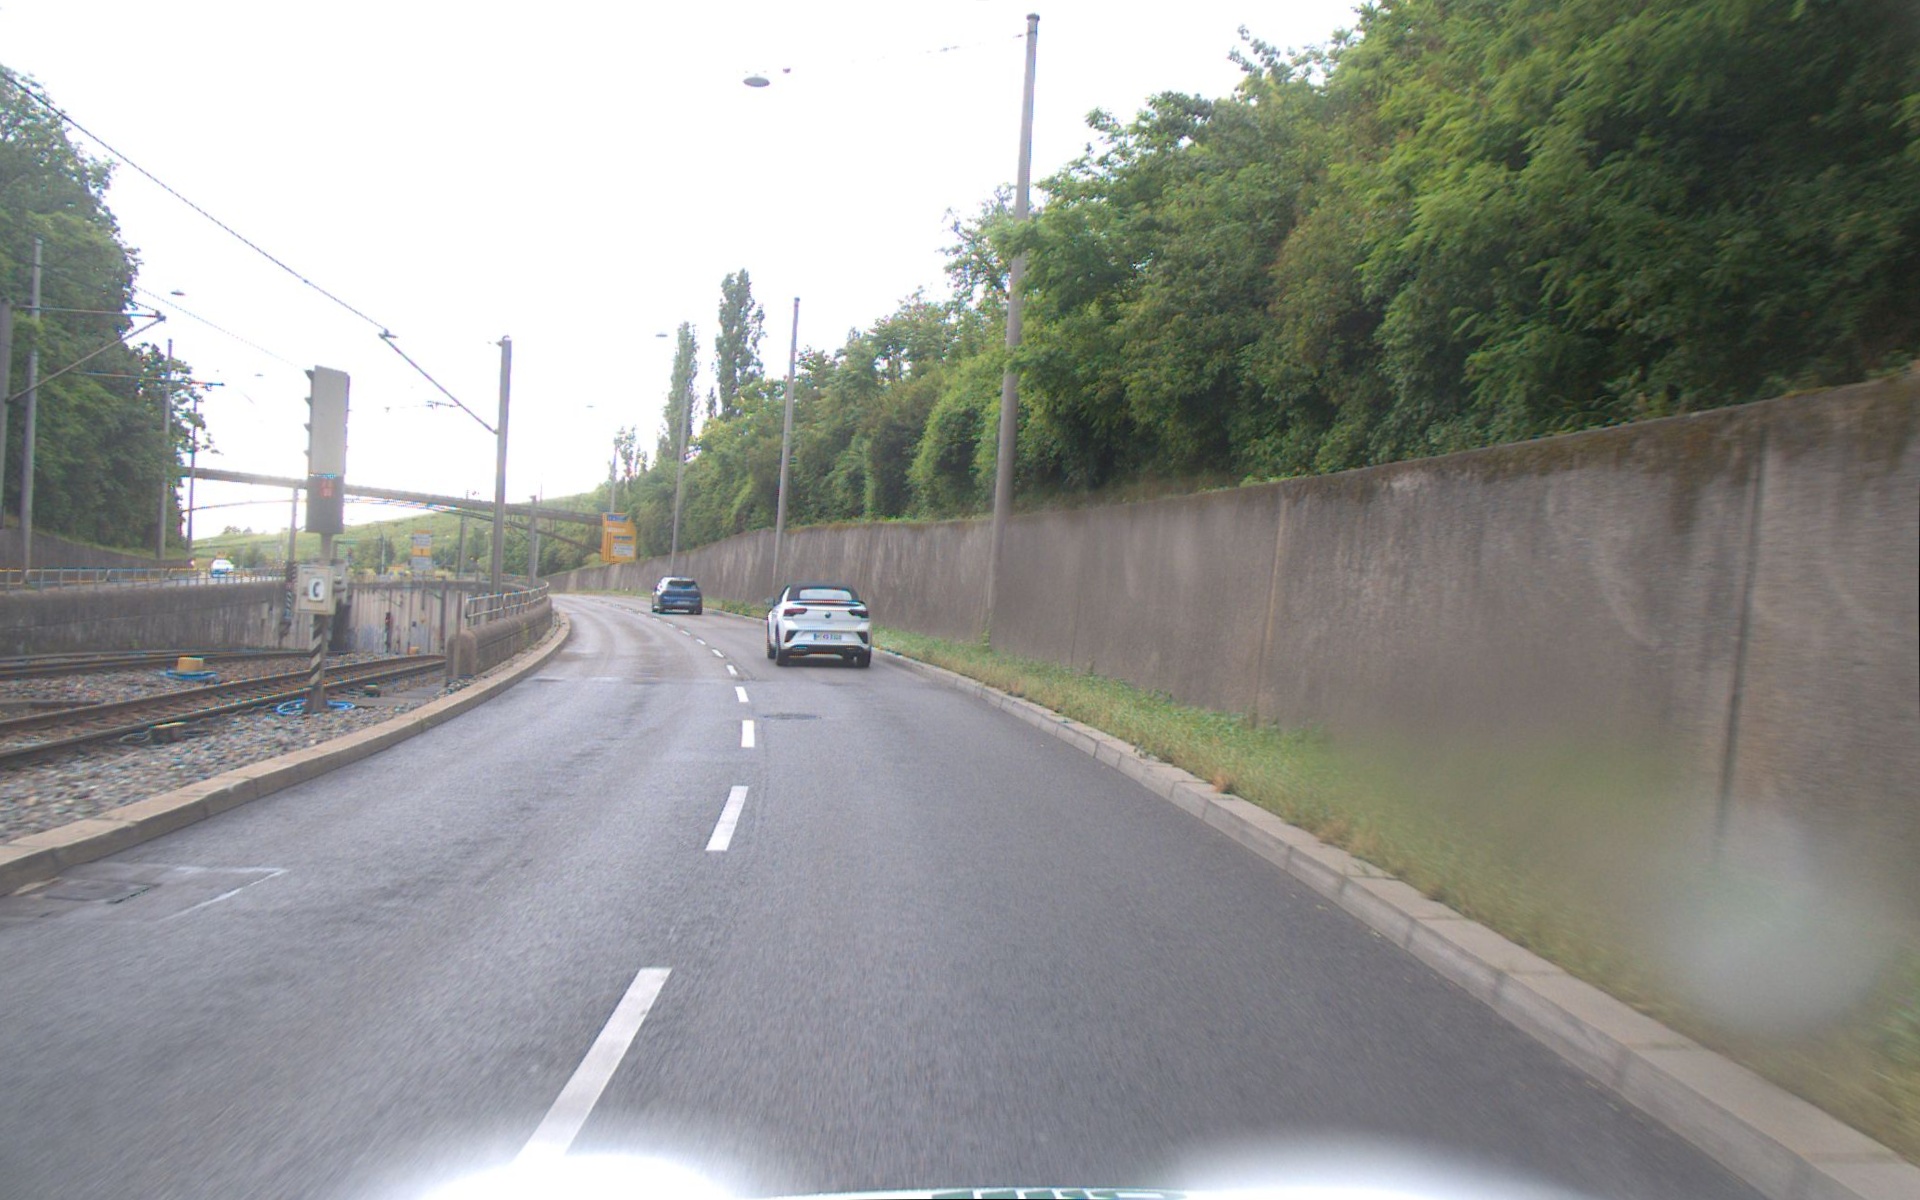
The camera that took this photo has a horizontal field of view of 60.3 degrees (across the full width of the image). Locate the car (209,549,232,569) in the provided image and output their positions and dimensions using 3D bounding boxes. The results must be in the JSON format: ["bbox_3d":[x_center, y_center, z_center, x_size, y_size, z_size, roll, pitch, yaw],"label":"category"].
[{"bbox_3d":[-68.197,-3.764,152.586,1.793,1.733,4.081,1,0,-23],"label":"car"}]

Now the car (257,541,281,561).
[{"bbox_3d":[-65.102,-4.630,155.775,1.936,1.780,4.108,1,0,-25],"label":"car"}]

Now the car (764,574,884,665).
[{"bbox_3d":[-2.686,0.329,31.779,1.959,1.606,4.117,1,1,-9],"label":"car"}]

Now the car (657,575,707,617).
[{"bbox_3d":[-11.379,-0.196,67.482,1.892,1.627,4.050,1,1,-11],"label":"car"}]
